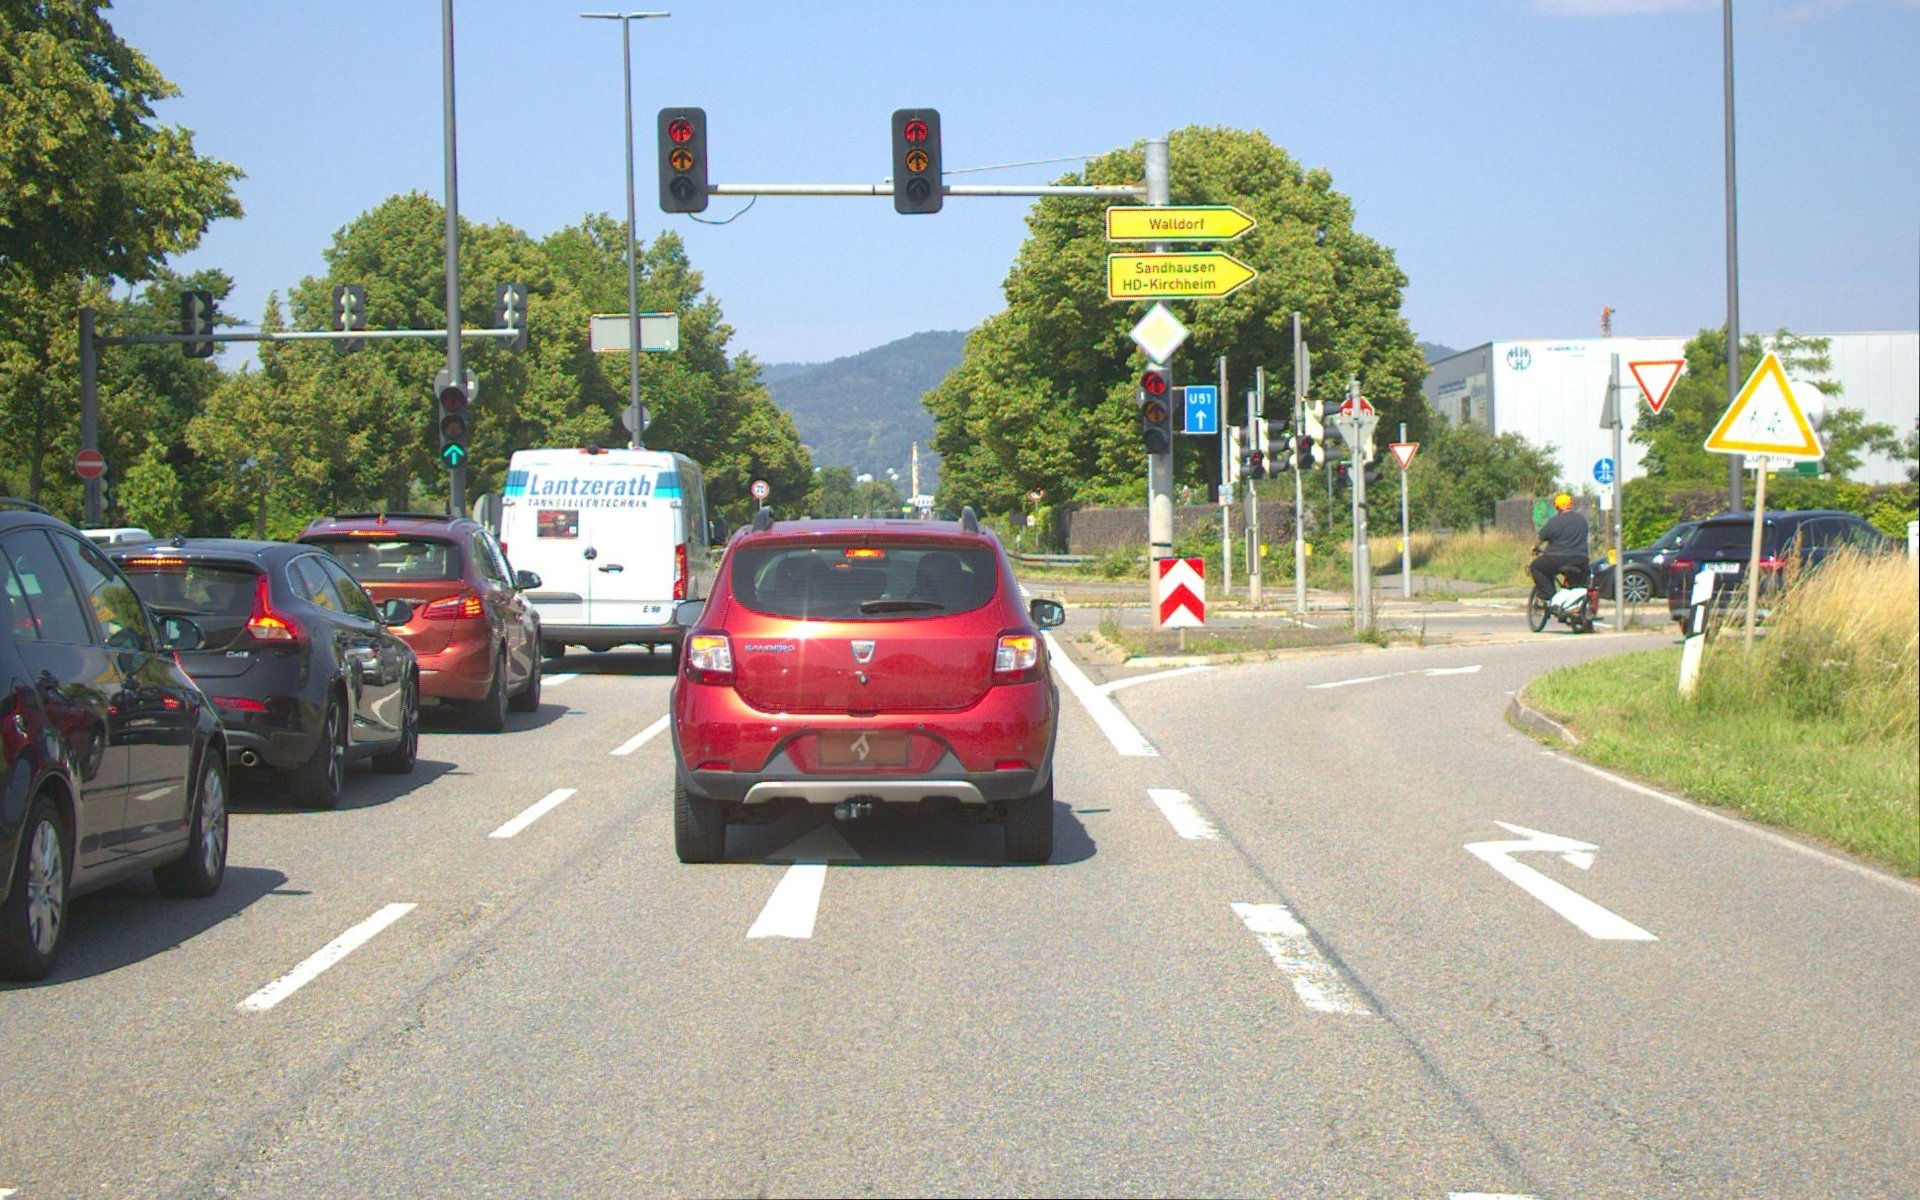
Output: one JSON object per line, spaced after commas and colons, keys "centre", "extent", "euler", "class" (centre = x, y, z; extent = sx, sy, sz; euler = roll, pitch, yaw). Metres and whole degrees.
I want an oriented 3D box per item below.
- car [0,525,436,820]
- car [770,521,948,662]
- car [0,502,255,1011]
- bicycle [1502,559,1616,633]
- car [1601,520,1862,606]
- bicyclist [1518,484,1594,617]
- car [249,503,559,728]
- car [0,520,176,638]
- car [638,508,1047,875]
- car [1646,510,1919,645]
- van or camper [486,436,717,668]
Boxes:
{"centre": [-4.113, 0.324, 19.370], "extent": [1.702, 1.437, 3.956], "euler": [1, 2, 0], "class": "car"}
{"centre": [-1.053, -0.129, 37.449], "extent": [1.749, 1.453, 3.676], "euler": [0, 2, 1], "class": "car"}
{"centre": [-3.826, 0.430, 12.485], "extent": [1.723, 1.570, 3.893], "euler": [0, 2, 0], "class": "car"}
{"centre": [8.067, -0.066, 46.434], "extent": [0.761, 0.911, 2.780], "euler": [-1, 2, -6], "class": "bicycle"}
{"centre": [12.575, -0.612, 56.202], "extent": [3.988, 1.322, 1.806], "euler": [-1, 2, 7], "class": "car"}
{"centre": [8.037, -0.673, 46.366], "extent": [0.802, 1.765, 0.809], "euler": [-1, 1, -6], "class": "bicyclist"}
{"centre": [-4.174, 0.061, 26.359], "extent": [1.724, 1.594, 3.956], "euler": [0, 1, 0], "class": "car"}
{"centre": [-15.309, -0.412, 60.431], "extent": [1.993, 1.924, 5.017], "euler": [-1, 1, -2], "class": "car"}
{"centre": [-0.471, 0.350, 16.618], "extent": [1.749, 1.570, 3.676], "euler": [0, 1, 1], "class": "car"}
{"centre": [10.469, -0.318, 43.482], "extent": [1.997, 1.611, 4.331], "euler": [1, 2, 34], "class": "car"}
{"centre": [-3.757, -0.530, 36.799], "extent": [2.179, 2.295, 4.827], "euler": [1, 1, -3], "class": "van or camper"}
